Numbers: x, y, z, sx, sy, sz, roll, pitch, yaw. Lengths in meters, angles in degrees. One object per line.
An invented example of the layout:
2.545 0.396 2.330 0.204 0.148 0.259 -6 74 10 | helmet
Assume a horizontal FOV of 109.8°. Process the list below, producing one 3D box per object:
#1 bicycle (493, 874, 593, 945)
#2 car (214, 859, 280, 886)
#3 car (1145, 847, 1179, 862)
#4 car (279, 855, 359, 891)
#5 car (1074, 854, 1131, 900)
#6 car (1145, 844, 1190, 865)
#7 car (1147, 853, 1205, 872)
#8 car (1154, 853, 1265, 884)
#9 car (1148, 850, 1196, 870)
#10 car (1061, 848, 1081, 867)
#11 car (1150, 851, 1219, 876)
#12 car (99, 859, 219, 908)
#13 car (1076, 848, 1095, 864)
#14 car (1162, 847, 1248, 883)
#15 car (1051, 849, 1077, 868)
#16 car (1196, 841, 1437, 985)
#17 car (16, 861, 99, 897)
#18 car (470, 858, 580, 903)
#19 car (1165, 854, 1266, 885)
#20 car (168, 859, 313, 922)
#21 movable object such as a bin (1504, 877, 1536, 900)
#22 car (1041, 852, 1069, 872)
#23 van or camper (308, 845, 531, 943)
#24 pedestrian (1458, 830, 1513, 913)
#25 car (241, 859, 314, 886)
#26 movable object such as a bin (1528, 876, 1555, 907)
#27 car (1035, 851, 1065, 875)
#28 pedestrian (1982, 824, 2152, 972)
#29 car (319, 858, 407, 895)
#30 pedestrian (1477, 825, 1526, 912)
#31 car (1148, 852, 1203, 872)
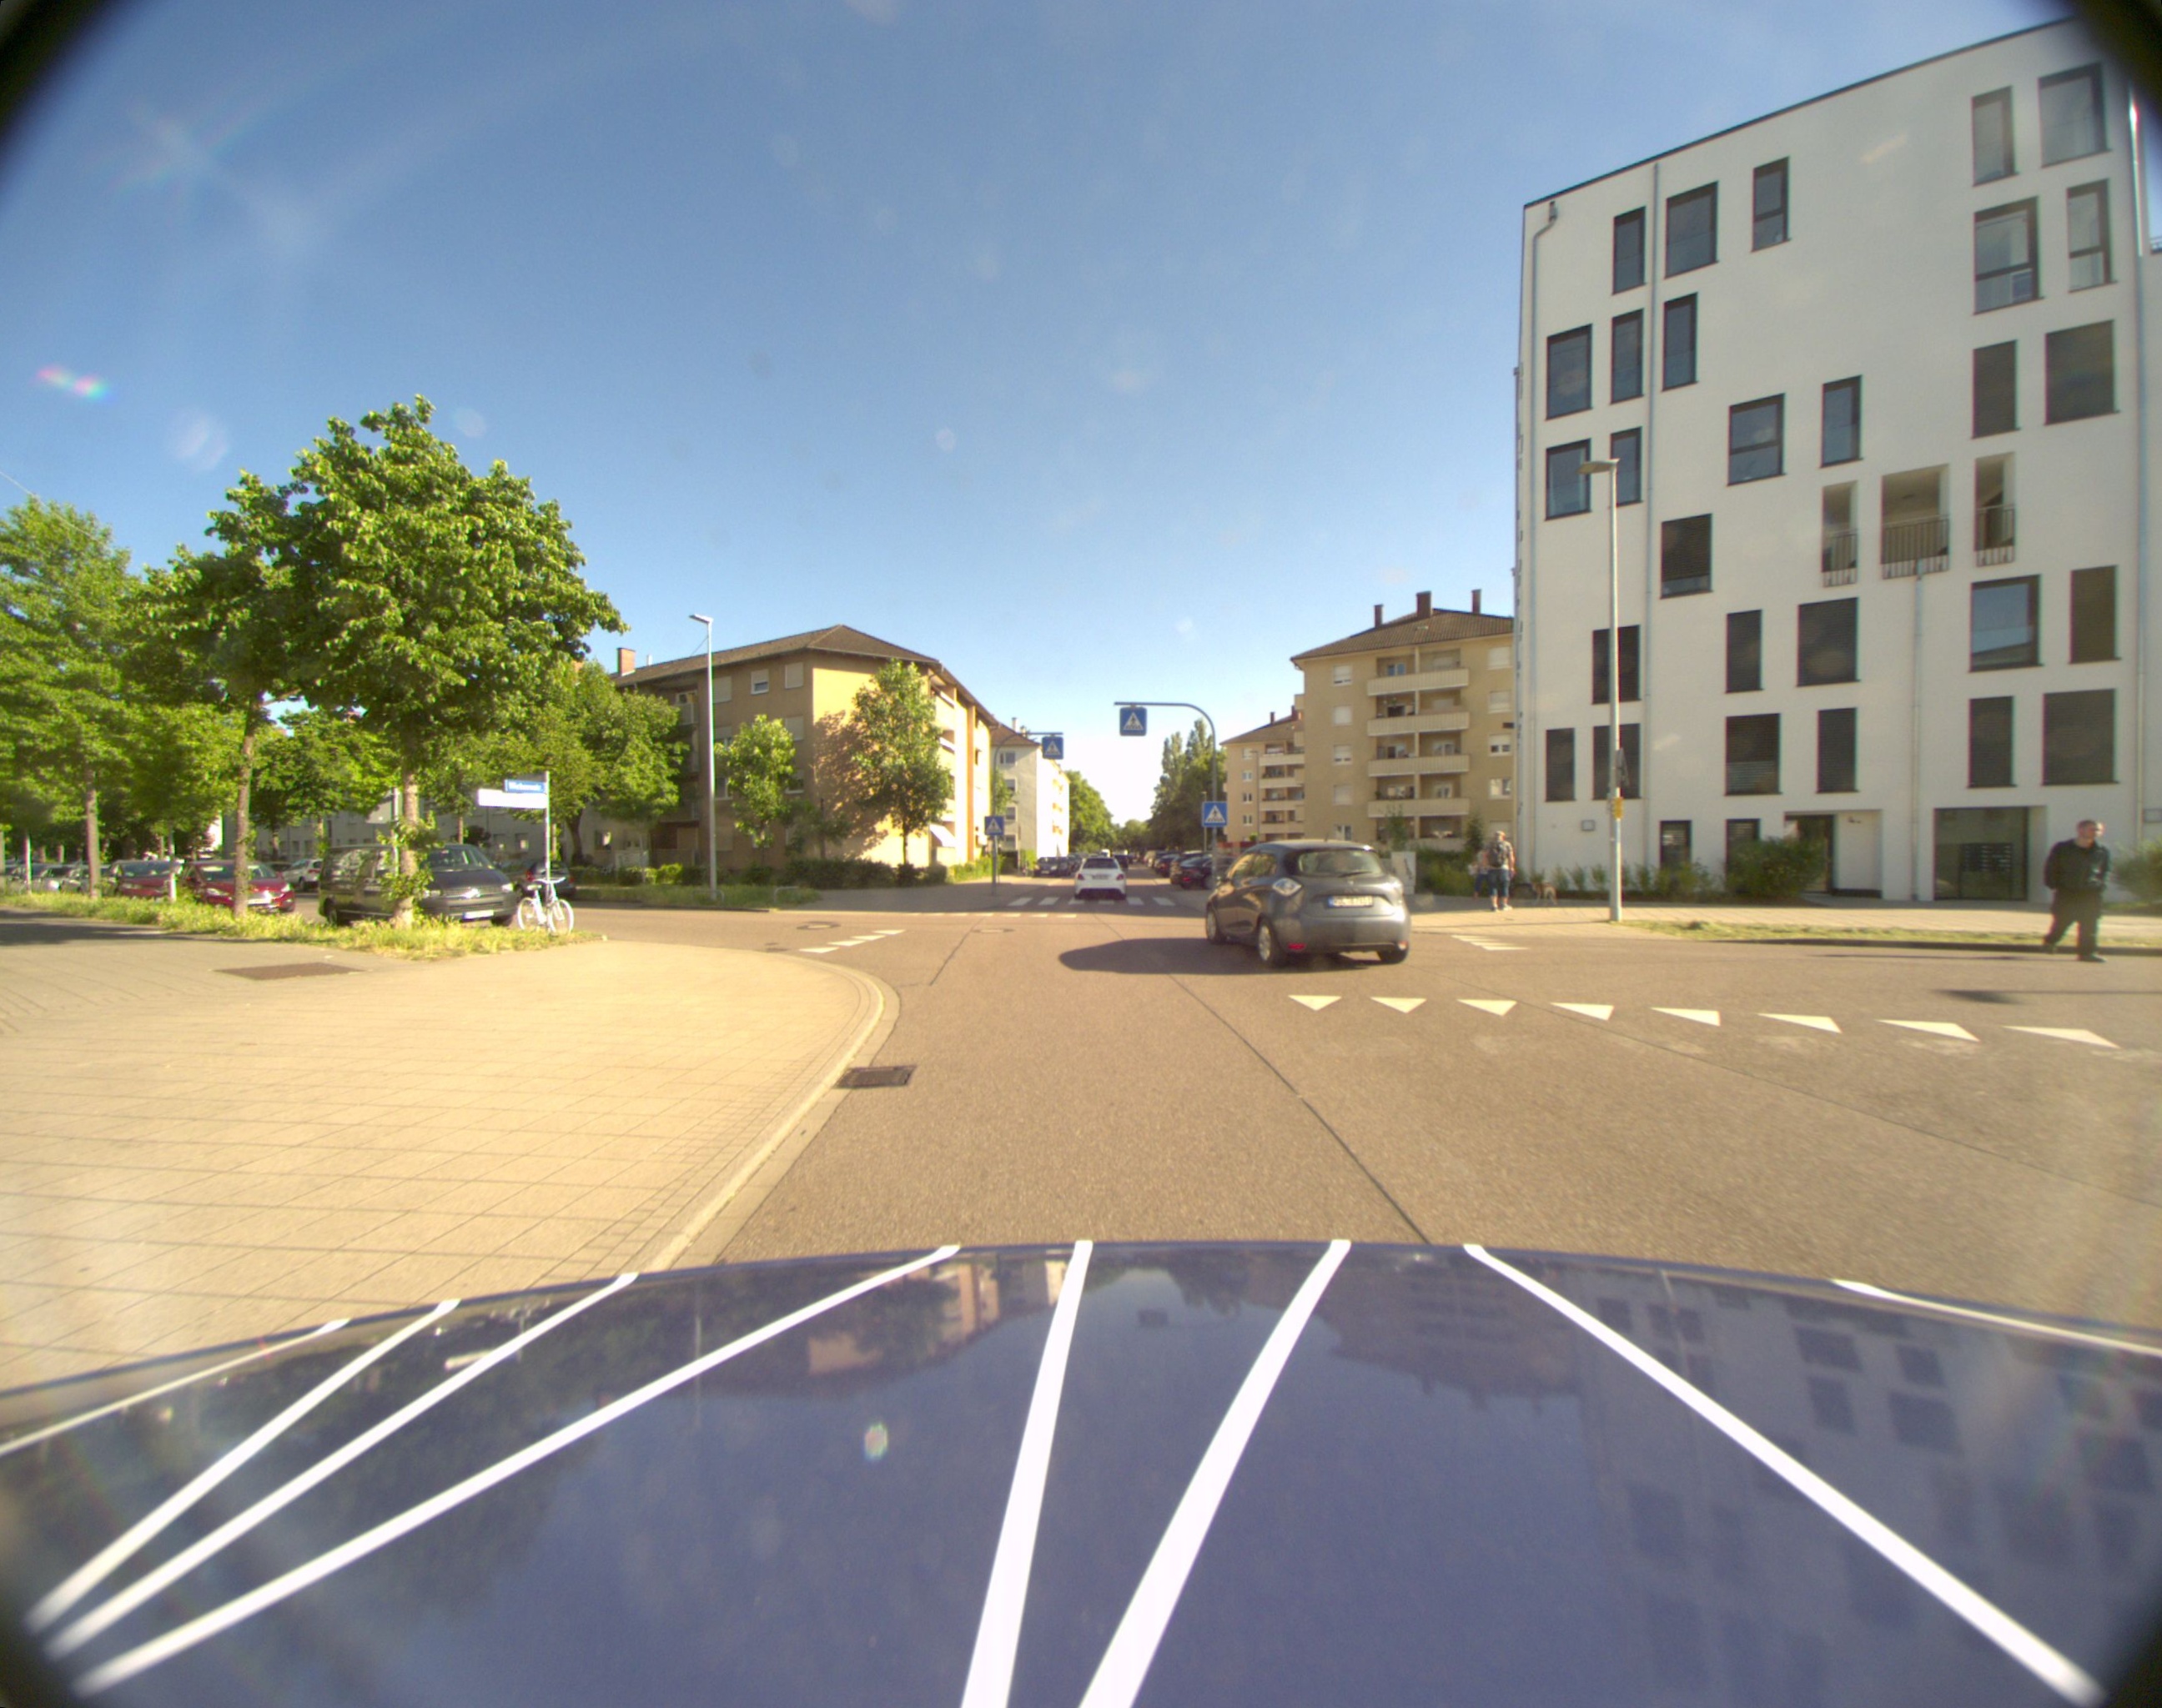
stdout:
-9.784 0.977 13.799 2.025 1.187 0.530 0 2 26 | bicycle
-47.423 1.028 43.205 3.956 1.436 1.657 1 0 29 | car
10.521 0.018 98.948 3.999 1.828 1.998 -1 3 -5 | car
-38.136 0.907 38.029 4.212 1.669 1.712 1 0 29 | car
0.717 0.766 27.739 1.890 1.496 4.638 0 0 0 | car
8.823 0.026 77.502 4.003 2.003 1.996 -2 3 -17 | car
7.439 0.627 59.369 4.003 1.303 1.996 -2 2 -17 | car
5.755 0.609 34.018 4.570 1.160 1.996 -2 1 -25 | car
8.484 0.560 70.853 4.000 1.631 1.997 -1 3 -10 | car
-0.926 0.332 73.123 1.844 1.747 4.000 1 1 1 | car
6.791 0.589 49.972 4.004 1.394 1.996 -2 3 -21 | car
-32.938 0.995 27.134 4.580 1.558 1.940 1 -1 30 | car
0.539 0.264 88.411 1.998 1.685 3.999 -1 2 2 | car
6.475 0.559 39.691 4.005 1.642 1.996 -2 1 -28 | car
-1.482 0.342 67.426 1.998 1.456 3.999 -3 2 2 | car
2.891 0.610 10.351 1.842 1.495 4.135 -1 2 -2 | car
-47.349 1.115 35.149 3.861 1.456 1.613 0 3 27 | car
-20.721 0.936 28.313 4.097 1.553 1.729 1 0 29 | car
6.579 0.732 37.100 4.570 1.423 1.996 0 0 -25 | car
-25.305 1.020 22.832 4.958 1.604 1.908 1 2 30 | car
11.526 0.903 19.959 0.273 0.538 0.684 -2 2 -40 | movable object such as a bin
-1.891 0.581 56.870 1.999 1.237 3.998 -1 3 0 | car
-14.905 0.759 17.052 5.372 1.853 1.999 1 3 29 | van or camper
10.579 0.451 19.886 0.776 2.108 0.957 -2 1 -17 | pedestrian
-43.249 0.957 40.873 4.225 1.384 1.666 0 1 29 | car
10.892 0.876 17.984 0.272 0.676 0.849 0 2 12 | movable object such as a bin
-2.152 0.588 51.549 1.908 1.506 3.998 0 0 -4 | car
12.050 0.506 9.340 0.977 1.704 0.875 0 1 25 | pedestrian
-33.538 1.028 35.489 3.989 1.518 1.725 1 3 28 | car
9.399 0.306 17.016 0.789 1.875 0.847 0 3 19 | pedestrian
7.748 0.616 62.490 4.004 1.248 1.995 -4 4 -23 | car
